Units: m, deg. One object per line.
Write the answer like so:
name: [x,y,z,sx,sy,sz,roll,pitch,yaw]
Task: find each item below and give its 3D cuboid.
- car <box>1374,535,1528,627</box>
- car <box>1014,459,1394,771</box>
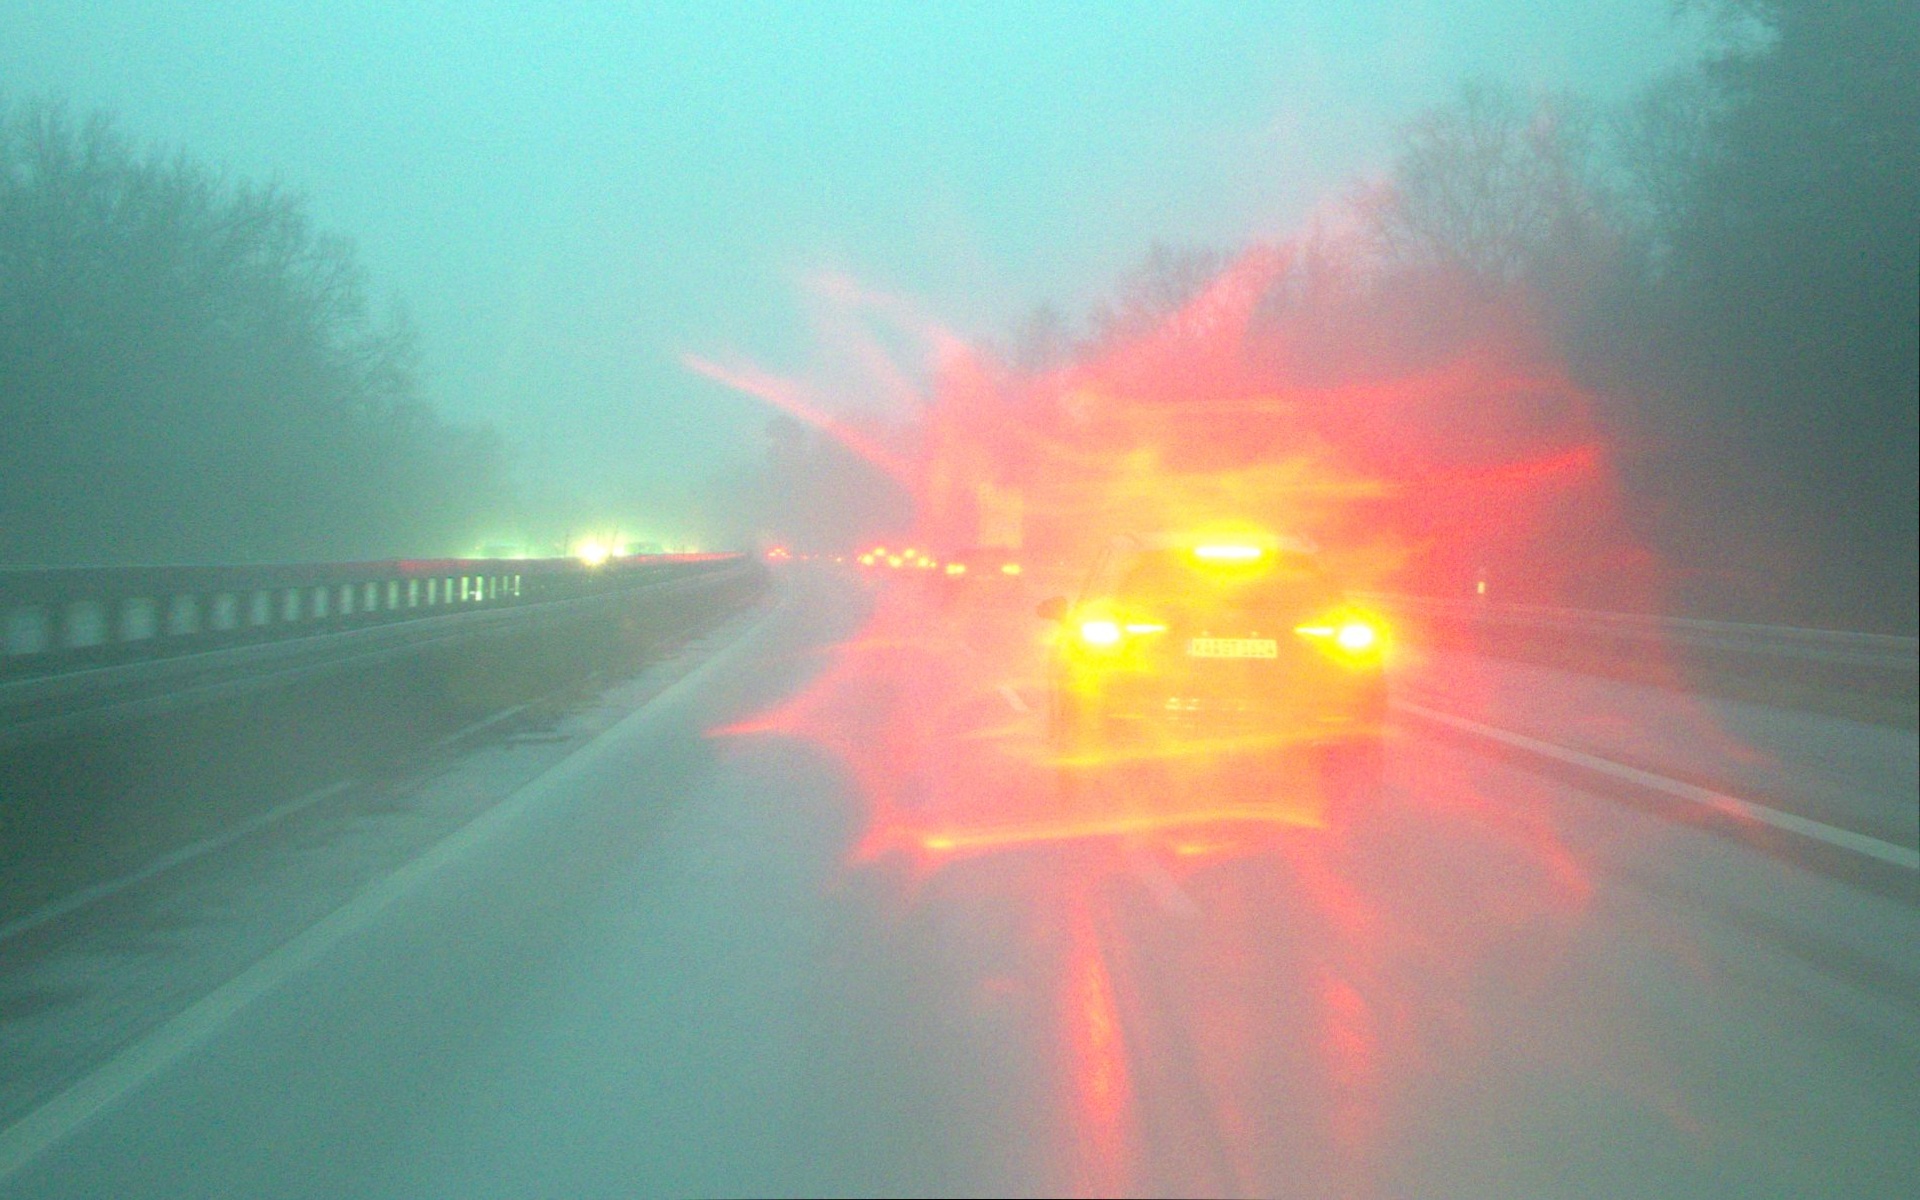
car: [7.952,-0.315,55.975,1.865,1.414,4.000,1,0,-1]
car: [1.444,0.076,21.869,1.924,1.785,3.941,1,0,-3]
